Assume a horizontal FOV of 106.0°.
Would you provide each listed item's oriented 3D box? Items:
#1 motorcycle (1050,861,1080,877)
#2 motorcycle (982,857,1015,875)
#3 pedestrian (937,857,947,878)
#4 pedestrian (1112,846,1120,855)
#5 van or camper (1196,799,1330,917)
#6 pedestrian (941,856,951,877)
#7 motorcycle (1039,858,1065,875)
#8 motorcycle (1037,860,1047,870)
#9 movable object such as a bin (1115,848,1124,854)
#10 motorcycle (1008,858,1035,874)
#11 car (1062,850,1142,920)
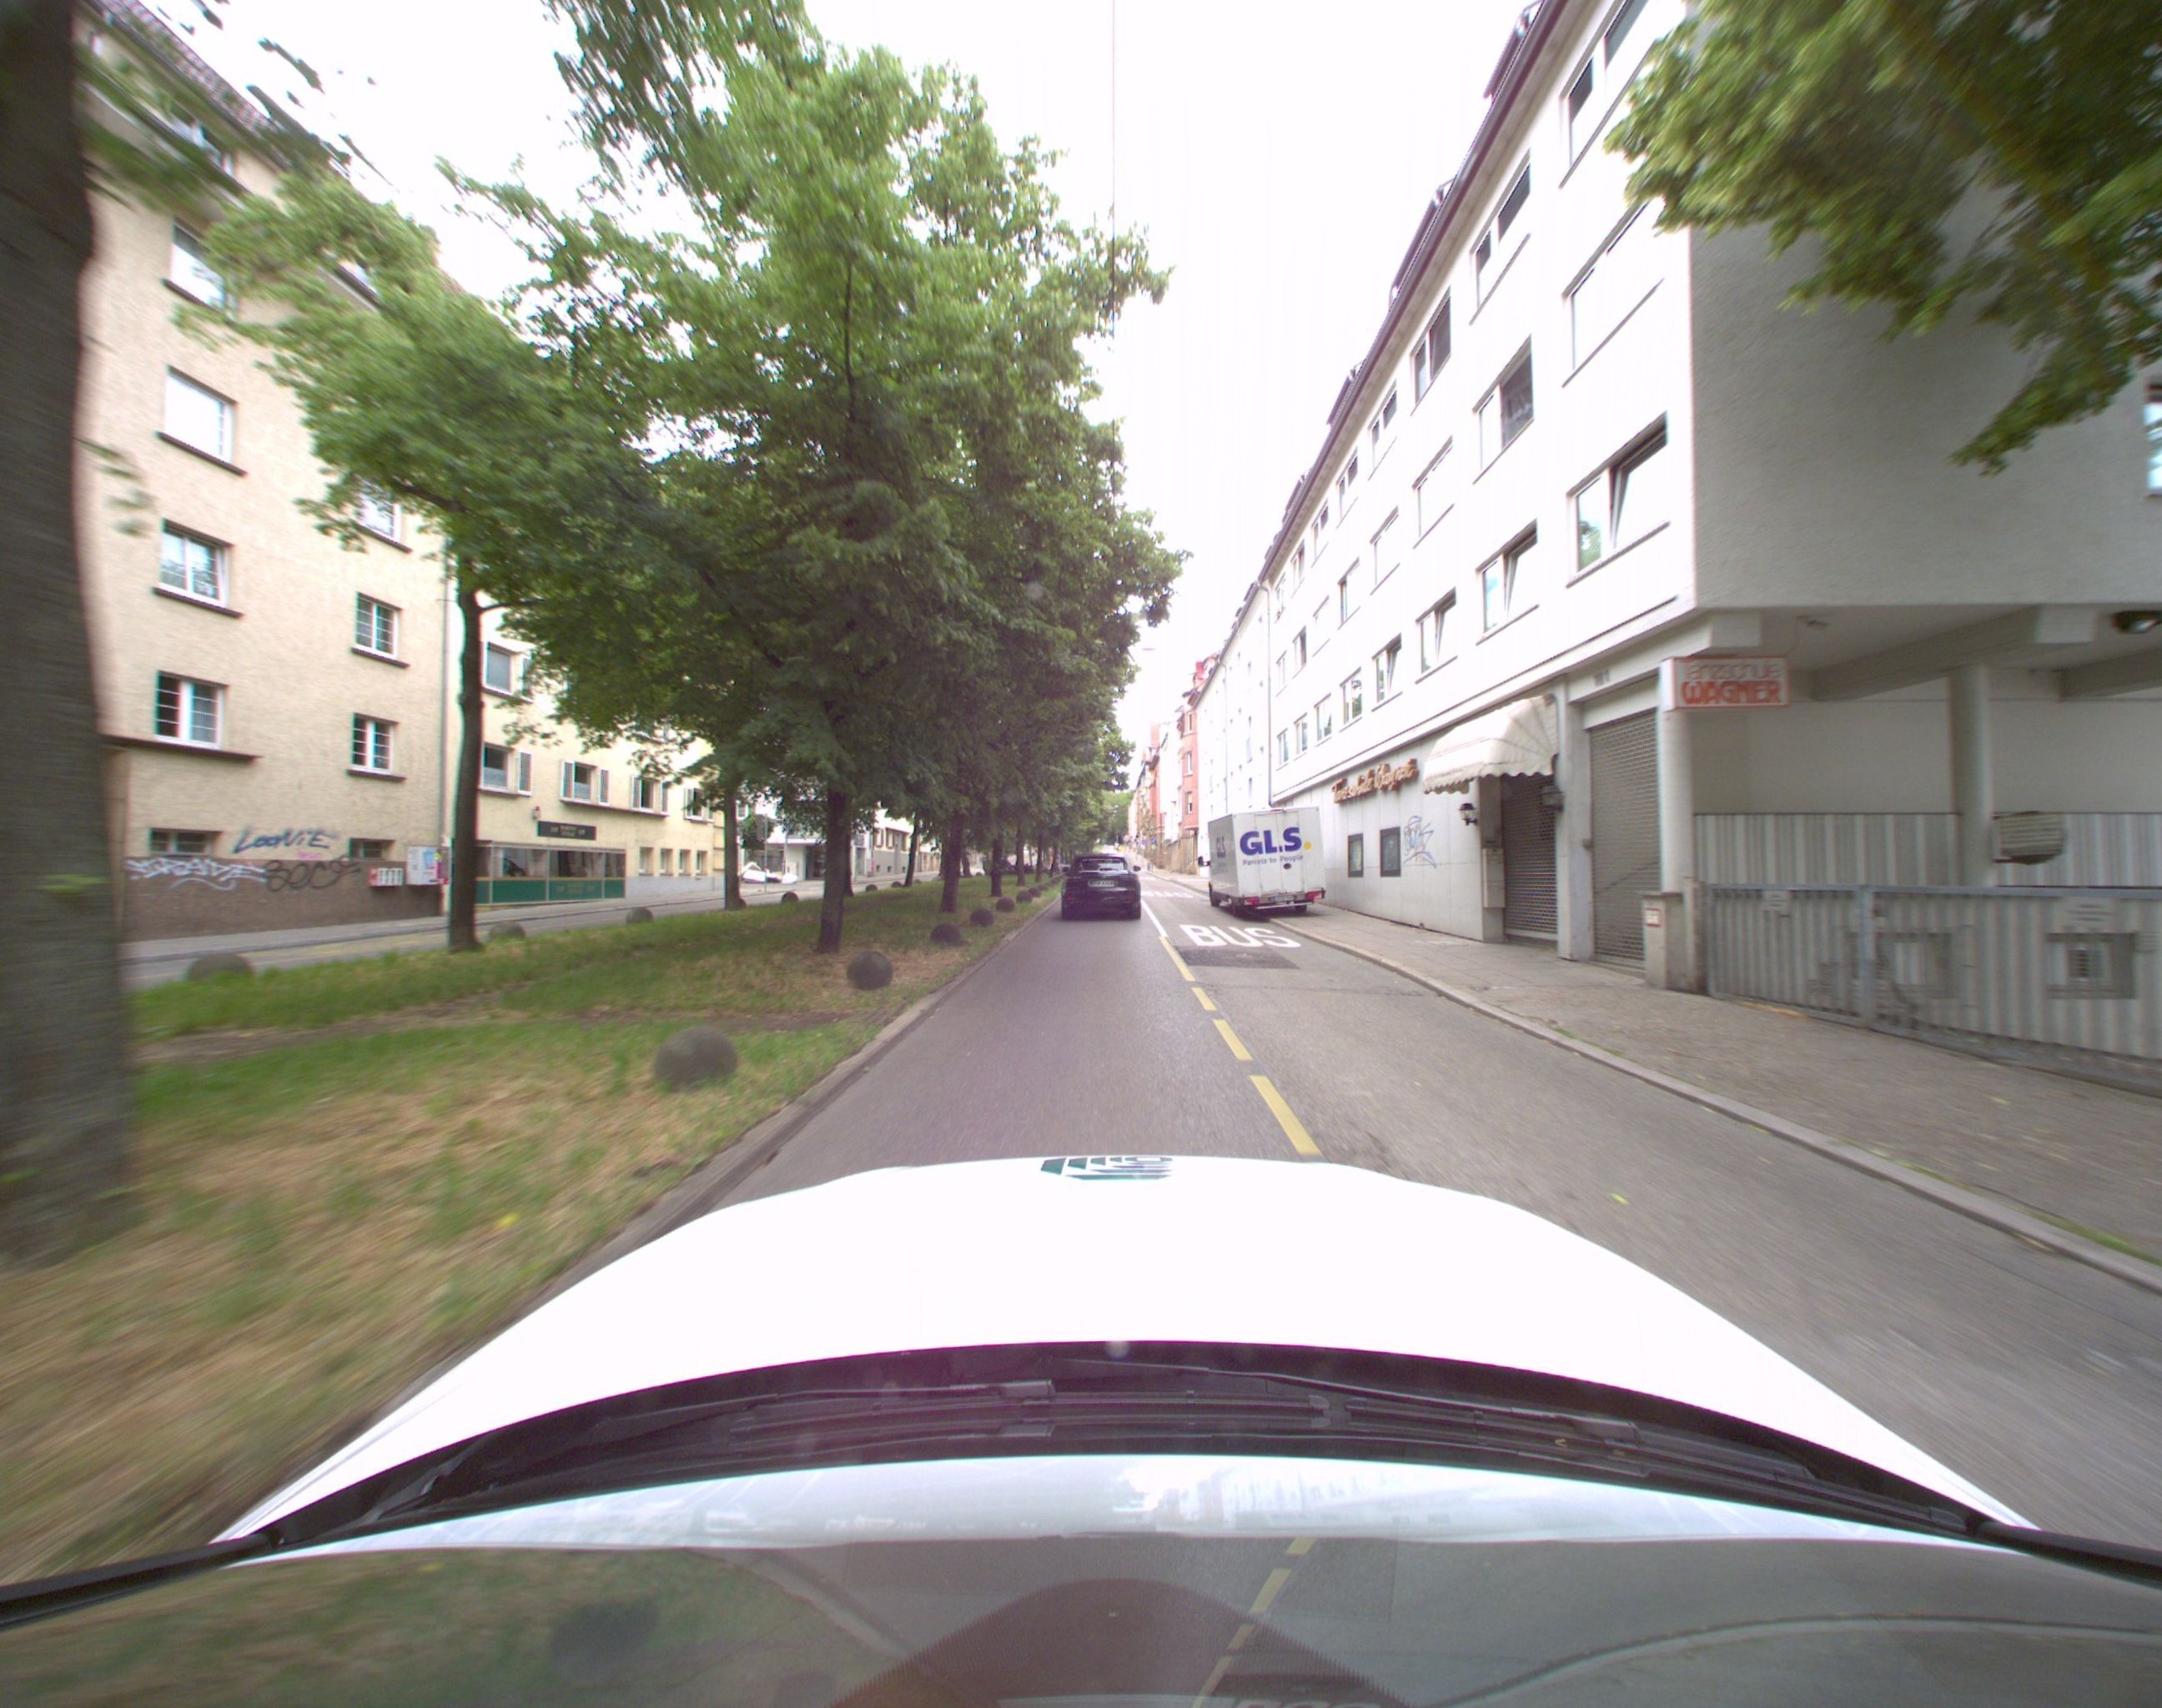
[{"bbox_3d":[-1.262,1.164,64.002,2.347,1.235,1.033,0,1,0],"label":"motorcycle"},{"bbox_3d":[-6.182,0.923,61.357,2.374,1.317,1.046,0,0,0],"label":"motorcycle"},{"bbox_3d":[-10.664,1.018,62.524,0.631,1.613,0.765,1,0,3],"label":"pedestrian"},{"bbox_3d":[7.501,-0.737,173.426,1.307,2.014,1.011,0,-1,-25],"label":"pedestrian"},{"bbox_3d":[5.020,0.105,23.768,2.470,2.803,7.242,-3,0,2],"label":"van or camper"},{"bbox_3d":[-10.544,0.984,63.493,0.660,1.616,0.580,0,0,3],"label":"pedestrian"},{"bbox_3d":[-2.159,0.949,61.319,1.918,1.297,0.893,-1,-2,0],"label":"motorcycle"},{"bbox_3d":[-4.245,1.200,88.482,0.897,1.107,2.252,-1,-2,2],"label":"motorcycle"},{"bbox_3d":[8.213,-0.597,172.144,1.243,1.274,1.831,0,0,-26],"label":"movable object such as a bin"},{"bbox_3d":[-4.715,0.966,64.569,2.018,1.235,0.898,-1,0,7],"label":"motorcycle"},{"bbox_3d":[0.519,0.748,21.435,1.897,1.666,4.135,0,0,0],"label":"car"}]
